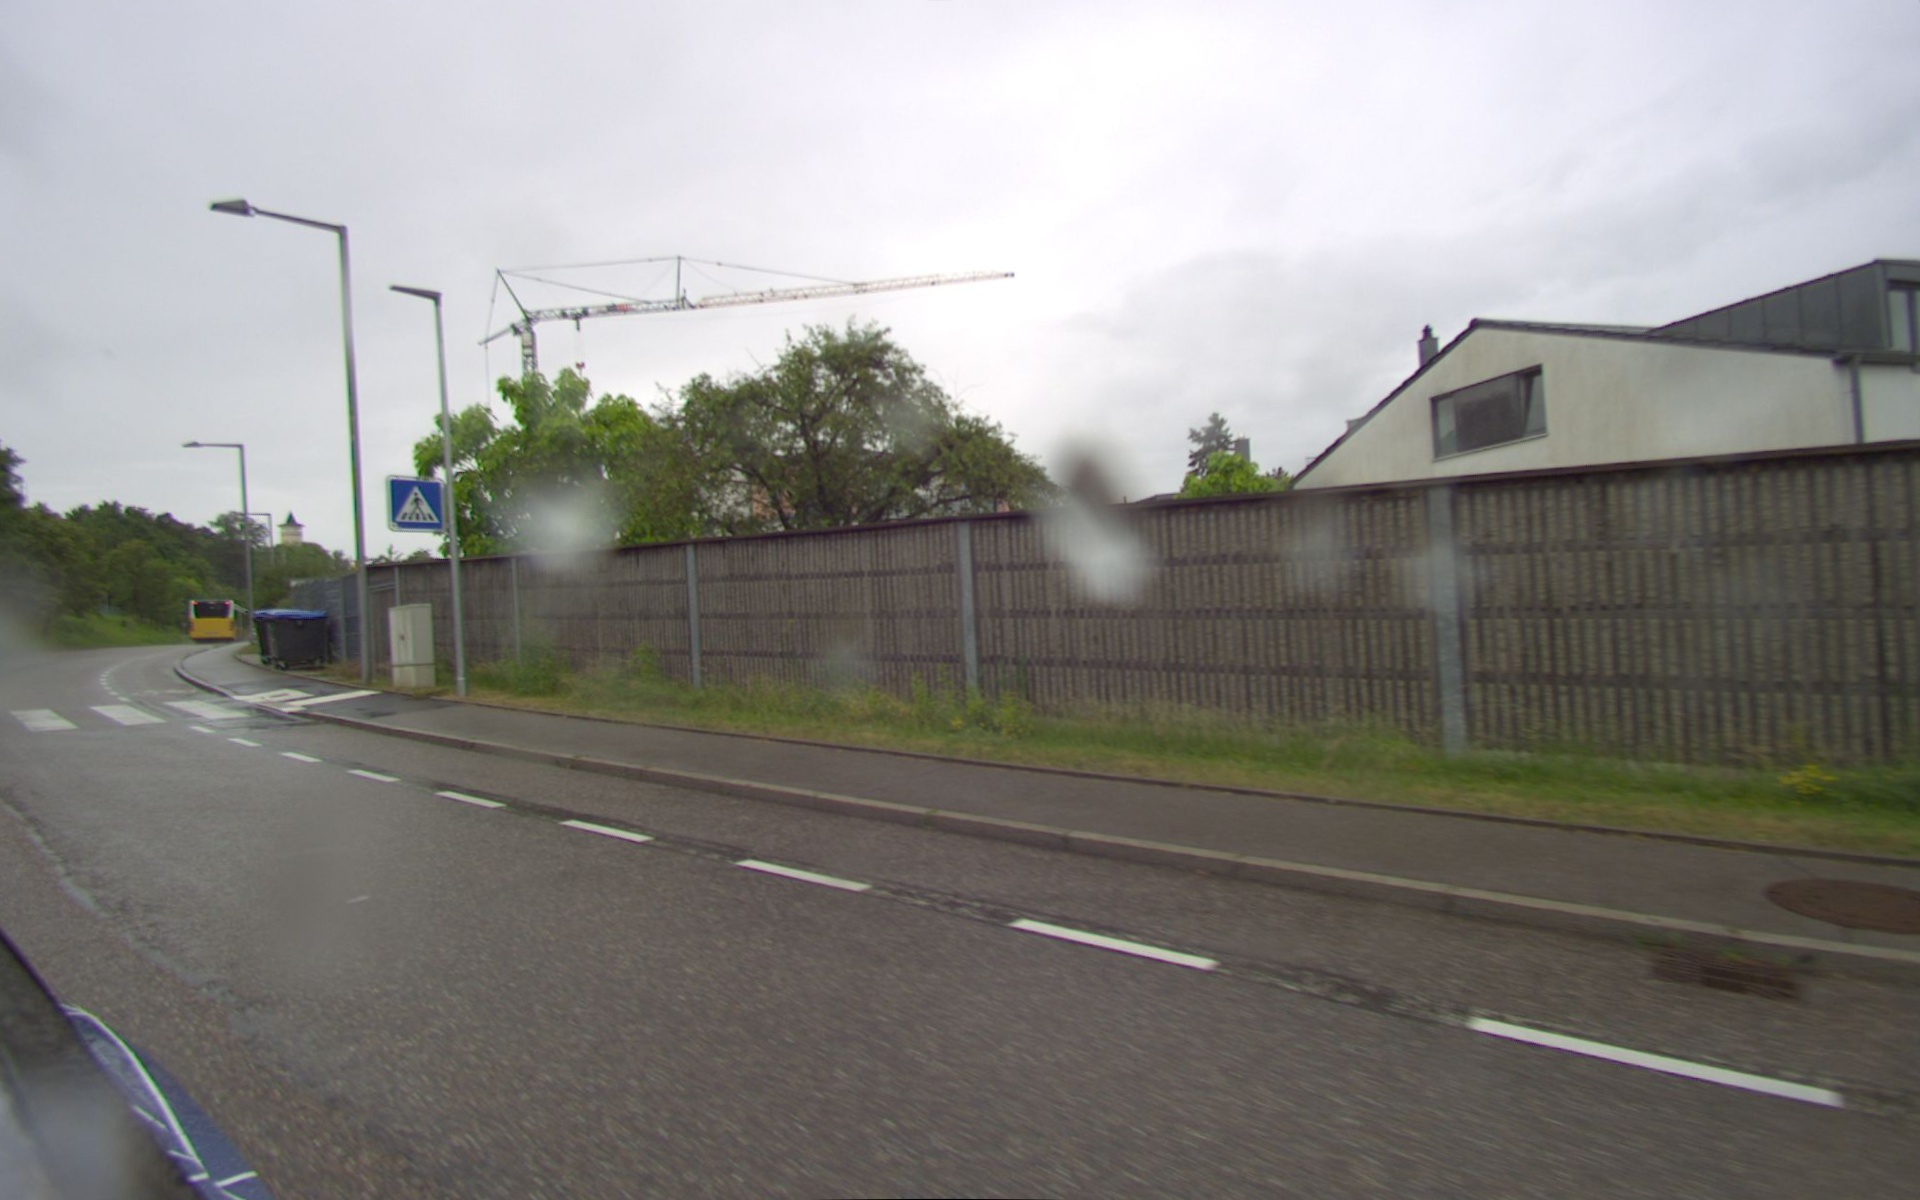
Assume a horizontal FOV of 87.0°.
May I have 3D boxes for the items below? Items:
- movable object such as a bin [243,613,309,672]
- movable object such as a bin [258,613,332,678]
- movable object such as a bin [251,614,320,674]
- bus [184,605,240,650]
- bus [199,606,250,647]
[{"bbox_3d":[-17.359,1.071,25.690,1.118,1.349,1.400,-5,2,-42],"label":"movable object such as a bin"},{"bbox_3d":[-15.160,1.030,23.074,1.118,1.331,1.364,-6,3,-42],"label":"movable object such as a bin"},{"bbox_3d":[-16.316,1.046,24.472,1.118,1.311,1.400,-6,2,-42],"label":"movable object such as a bin"},{"bbox_3d":[-55.261,2.014,74.901,2.604,3.055,7.688,-1,0,-31],"label":"bus"},{"bbox_3d":[-60.064,2.082,82.838,2.604,3.090,10.886,-1,0,-32],"label":"bus"}]
